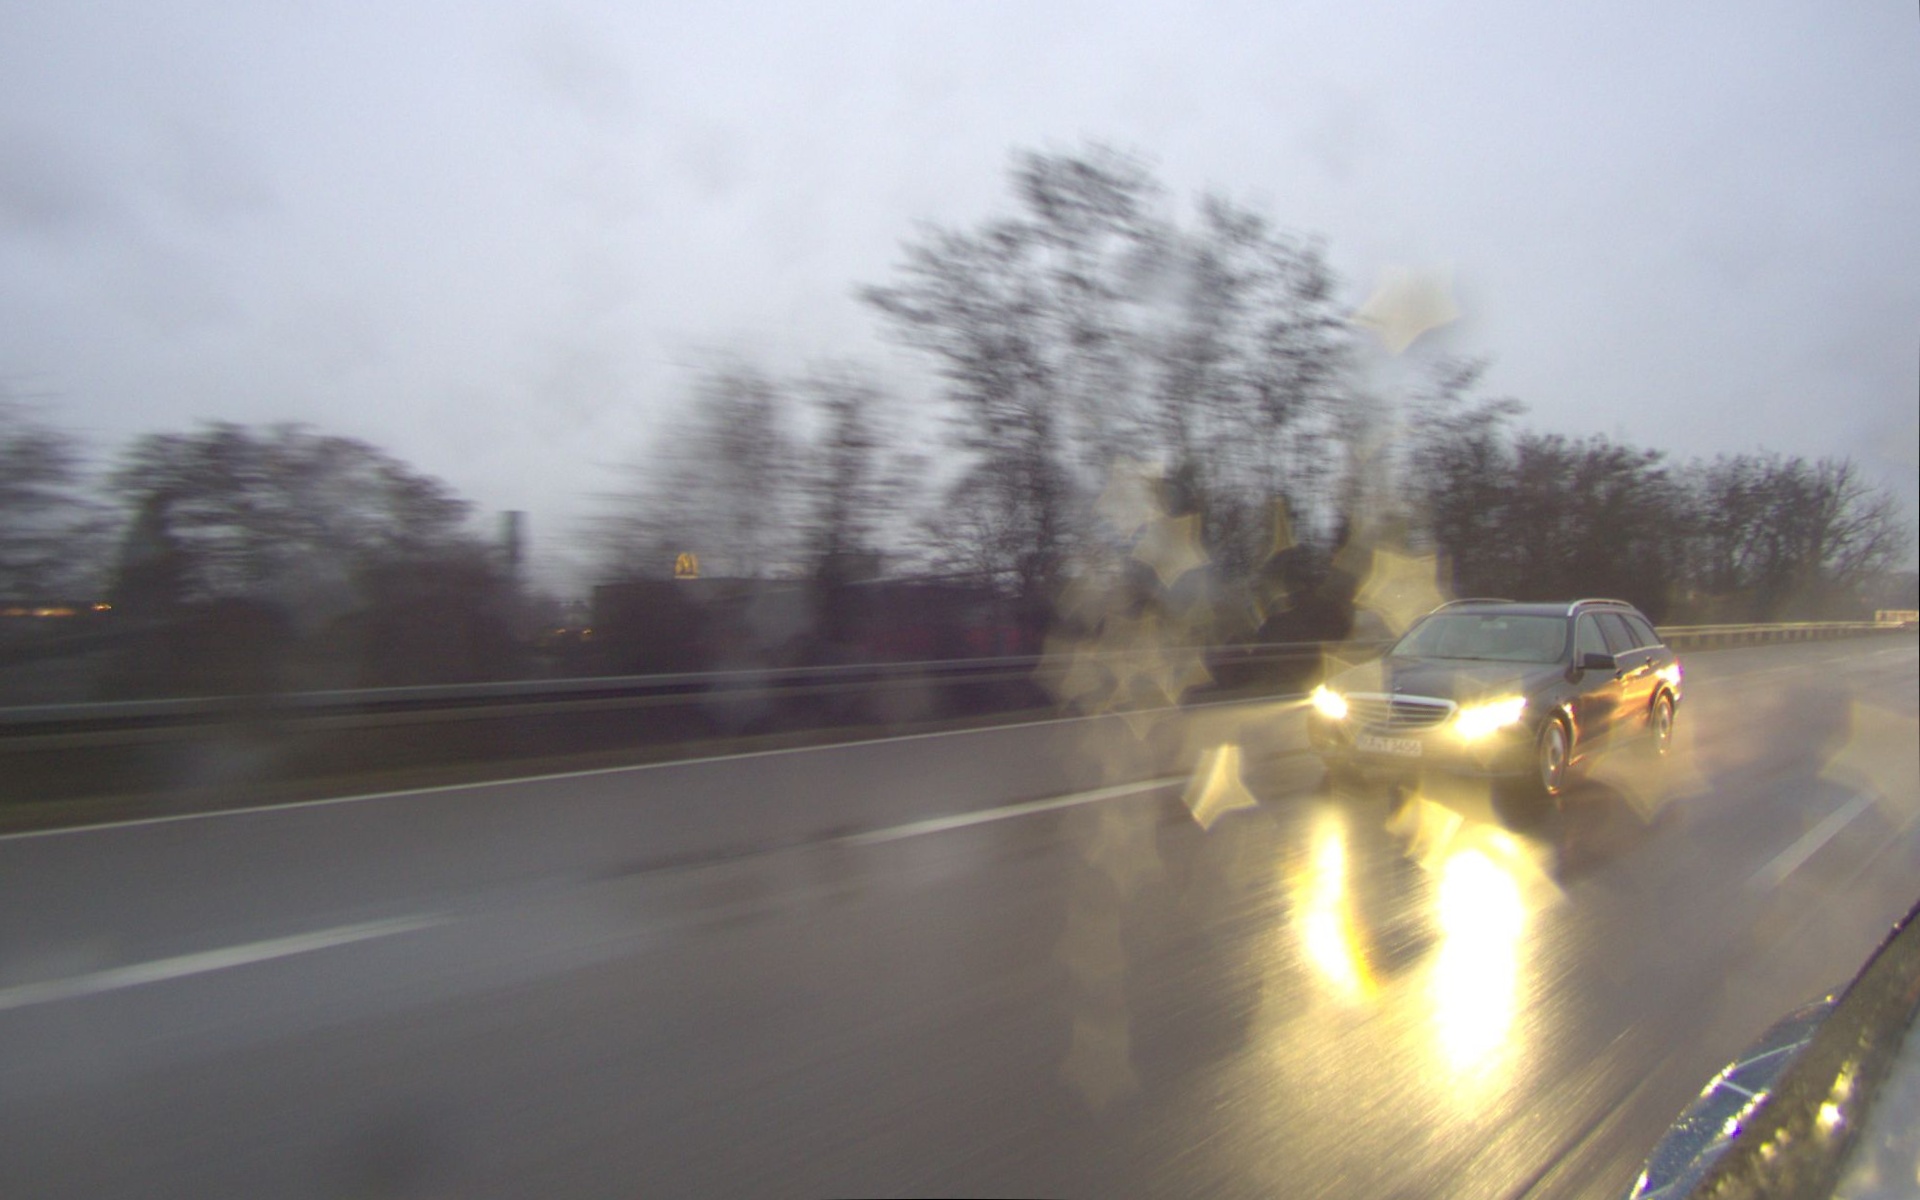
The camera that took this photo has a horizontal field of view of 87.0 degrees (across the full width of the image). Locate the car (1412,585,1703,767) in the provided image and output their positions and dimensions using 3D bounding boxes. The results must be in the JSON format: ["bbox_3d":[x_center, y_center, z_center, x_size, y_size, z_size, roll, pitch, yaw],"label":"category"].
[{"bbox_3d":[6.166,0.618,10.223,1.591,1.472,4.109,0,0,45],"label":"car"}]
